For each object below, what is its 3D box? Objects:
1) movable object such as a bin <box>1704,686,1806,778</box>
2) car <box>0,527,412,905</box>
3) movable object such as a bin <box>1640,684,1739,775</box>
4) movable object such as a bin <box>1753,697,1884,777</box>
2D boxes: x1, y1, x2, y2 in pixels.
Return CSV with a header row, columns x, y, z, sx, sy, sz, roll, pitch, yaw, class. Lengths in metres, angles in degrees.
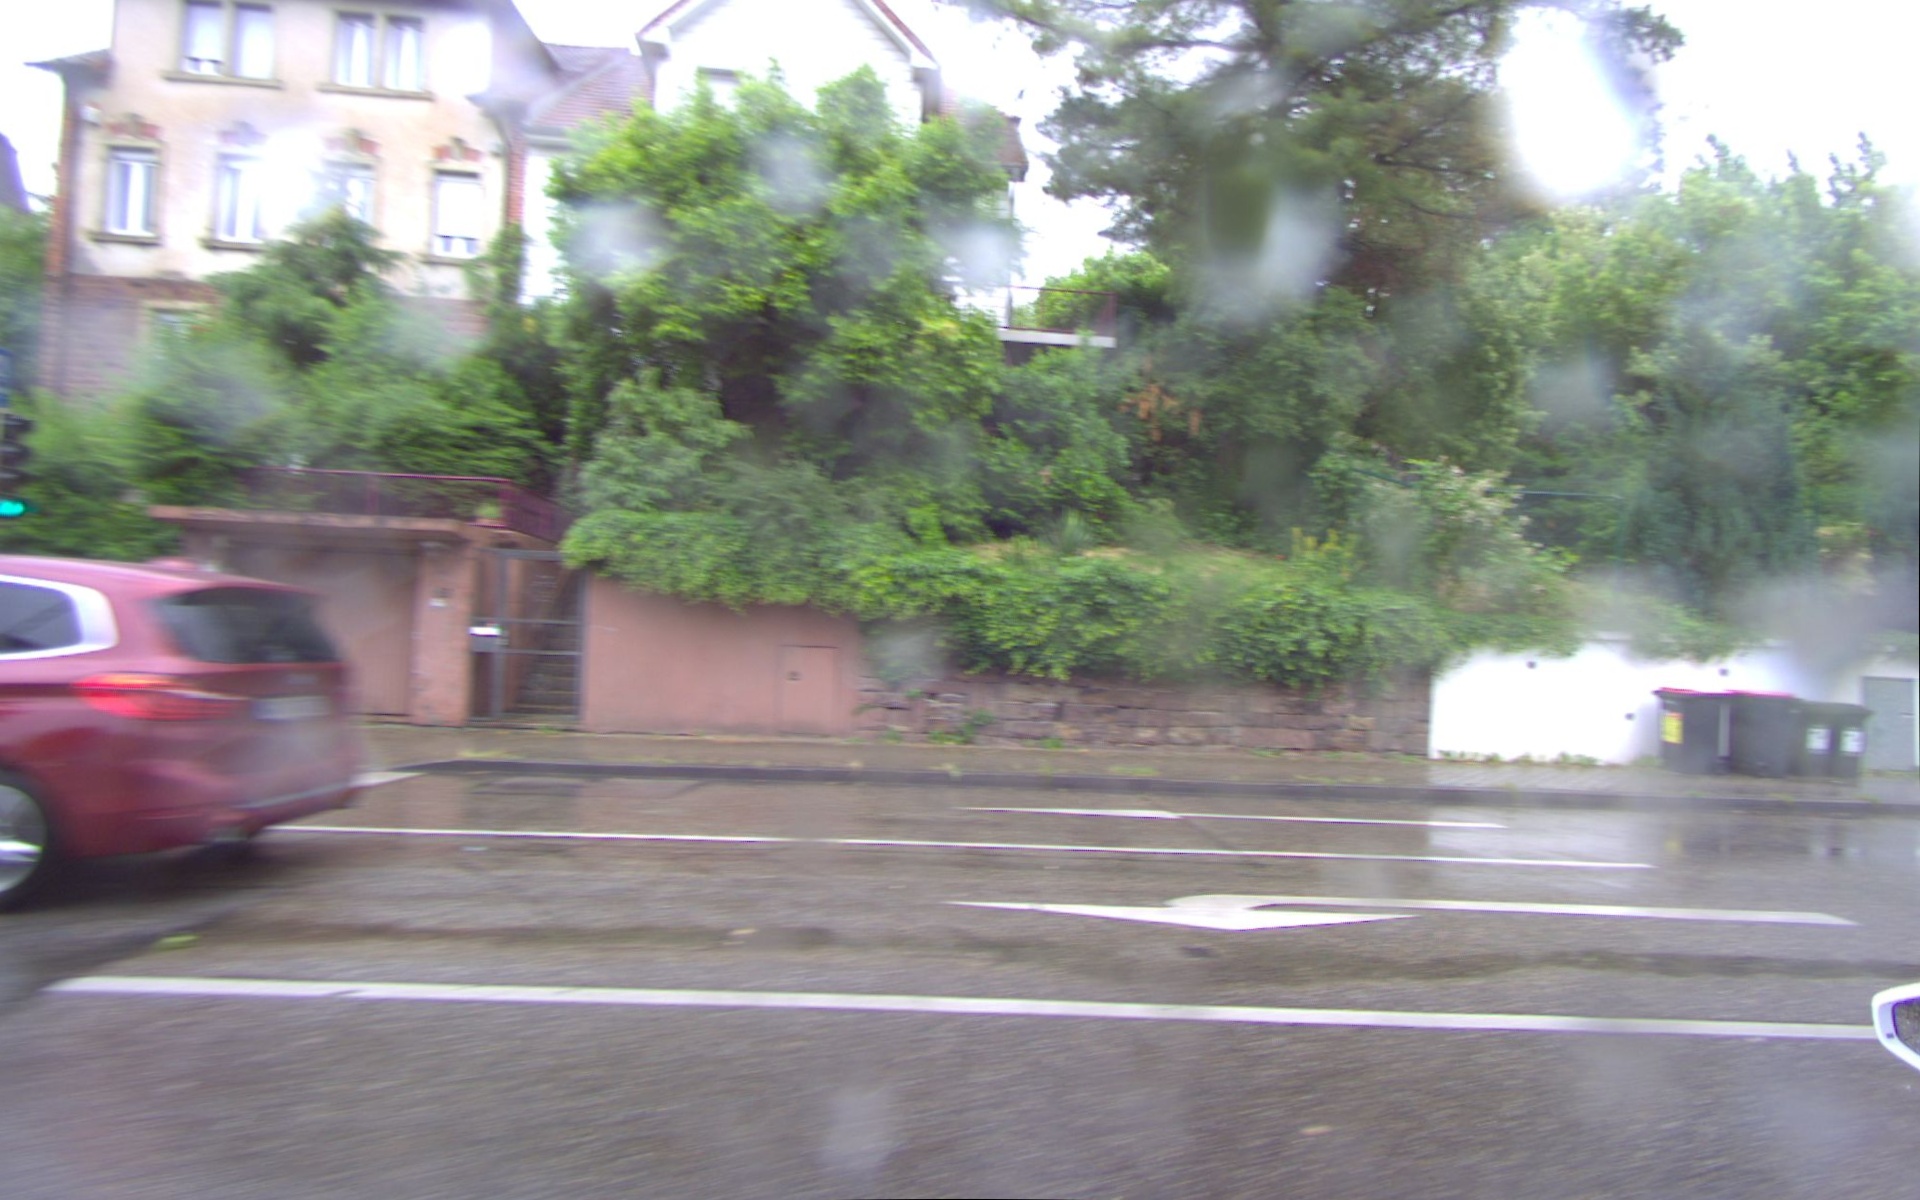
x,y,z,sx,sy,sz,roll,pitch,yaw,class
9.929,1.631,12.561,0.779,1.074,0.636,2,-2,-3,movable object such as a bin
-5.591,0.505,5.157,4.494,1.622,1.775,1,-2,-3,car
9.140,1.608,12.605,0.739,1.074,0.689,2,-2,-3,movable object such as a bin
10.932,1.736,12.819,0.936,0.928,0.852,1,-2,-4,movable object such as a bin
